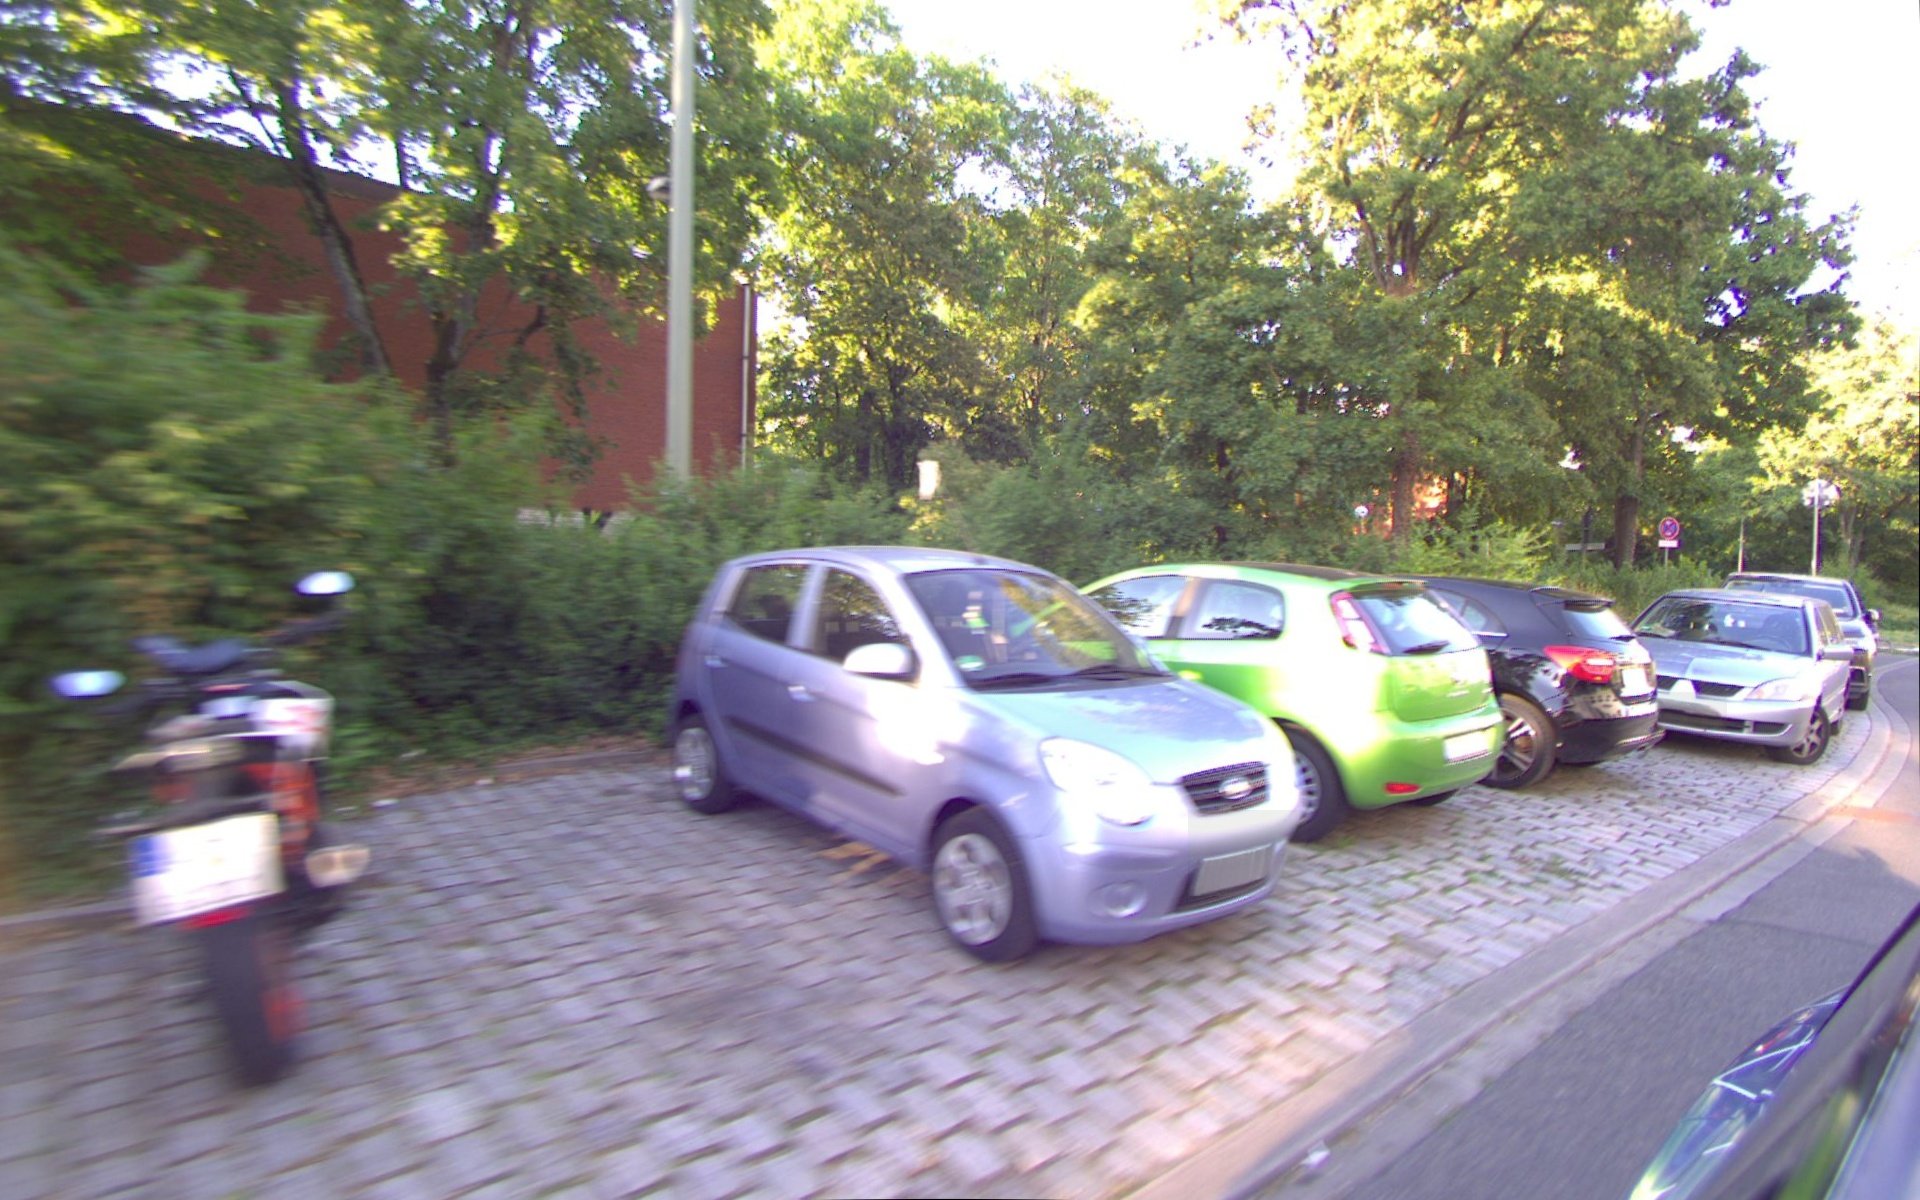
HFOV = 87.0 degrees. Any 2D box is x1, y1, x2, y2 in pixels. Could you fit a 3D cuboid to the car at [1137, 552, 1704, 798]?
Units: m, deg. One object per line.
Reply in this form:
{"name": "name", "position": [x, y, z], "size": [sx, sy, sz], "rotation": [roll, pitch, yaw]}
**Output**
{"name": "car", "position": [3.574, 0.394, 8.462], "size": [1.709, 1.530, 3.958], "rotation": [-1, 3, -40]}

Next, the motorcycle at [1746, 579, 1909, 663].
{"name": "motorcycle", "position": [17.580, 0.375, 20.571], "size": [1.020, 1.564, 2.300], "rotation": [0, 2, -35]}

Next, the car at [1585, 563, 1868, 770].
{"name": "car", "position": [7.692, 0.483, 9.991], "size": [1.652, 1.587, 4.232], "rotation": [3, 3, 45]}

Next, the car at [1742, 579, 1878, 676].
{"name": "car", "position": [15.022, 0.398, 17.830], "size": [1.620, 1.505, 3.366], "rotation": [3, 3, 43]}

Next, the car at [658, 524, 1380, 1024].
{"name": "car", "position": [0.011, 0.456, 5.005], "size": [1.642, 1.544, 3.394], "rotation": [0, 3, -40]}

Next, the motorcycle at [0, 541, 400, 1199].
{"name": "motorcycle", "position": [-2.140, 0.520, 2.915], "size": [0.763, 1.320, 2.101], "rotation": [0, 3, -33]}

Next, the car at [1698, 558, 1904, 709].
{"name": "car", "position": [11.882, 0.329, 14.368], "size": [1.920, 1.770, 4.599], "rotation": [3, 3, 40]}

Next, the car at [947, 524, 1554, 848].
{"name": "car", "position": [1.684, 0.356, 6.807], "size": [1.641, 1.559, 3.636], "rotation": [0, 2, -39]}
